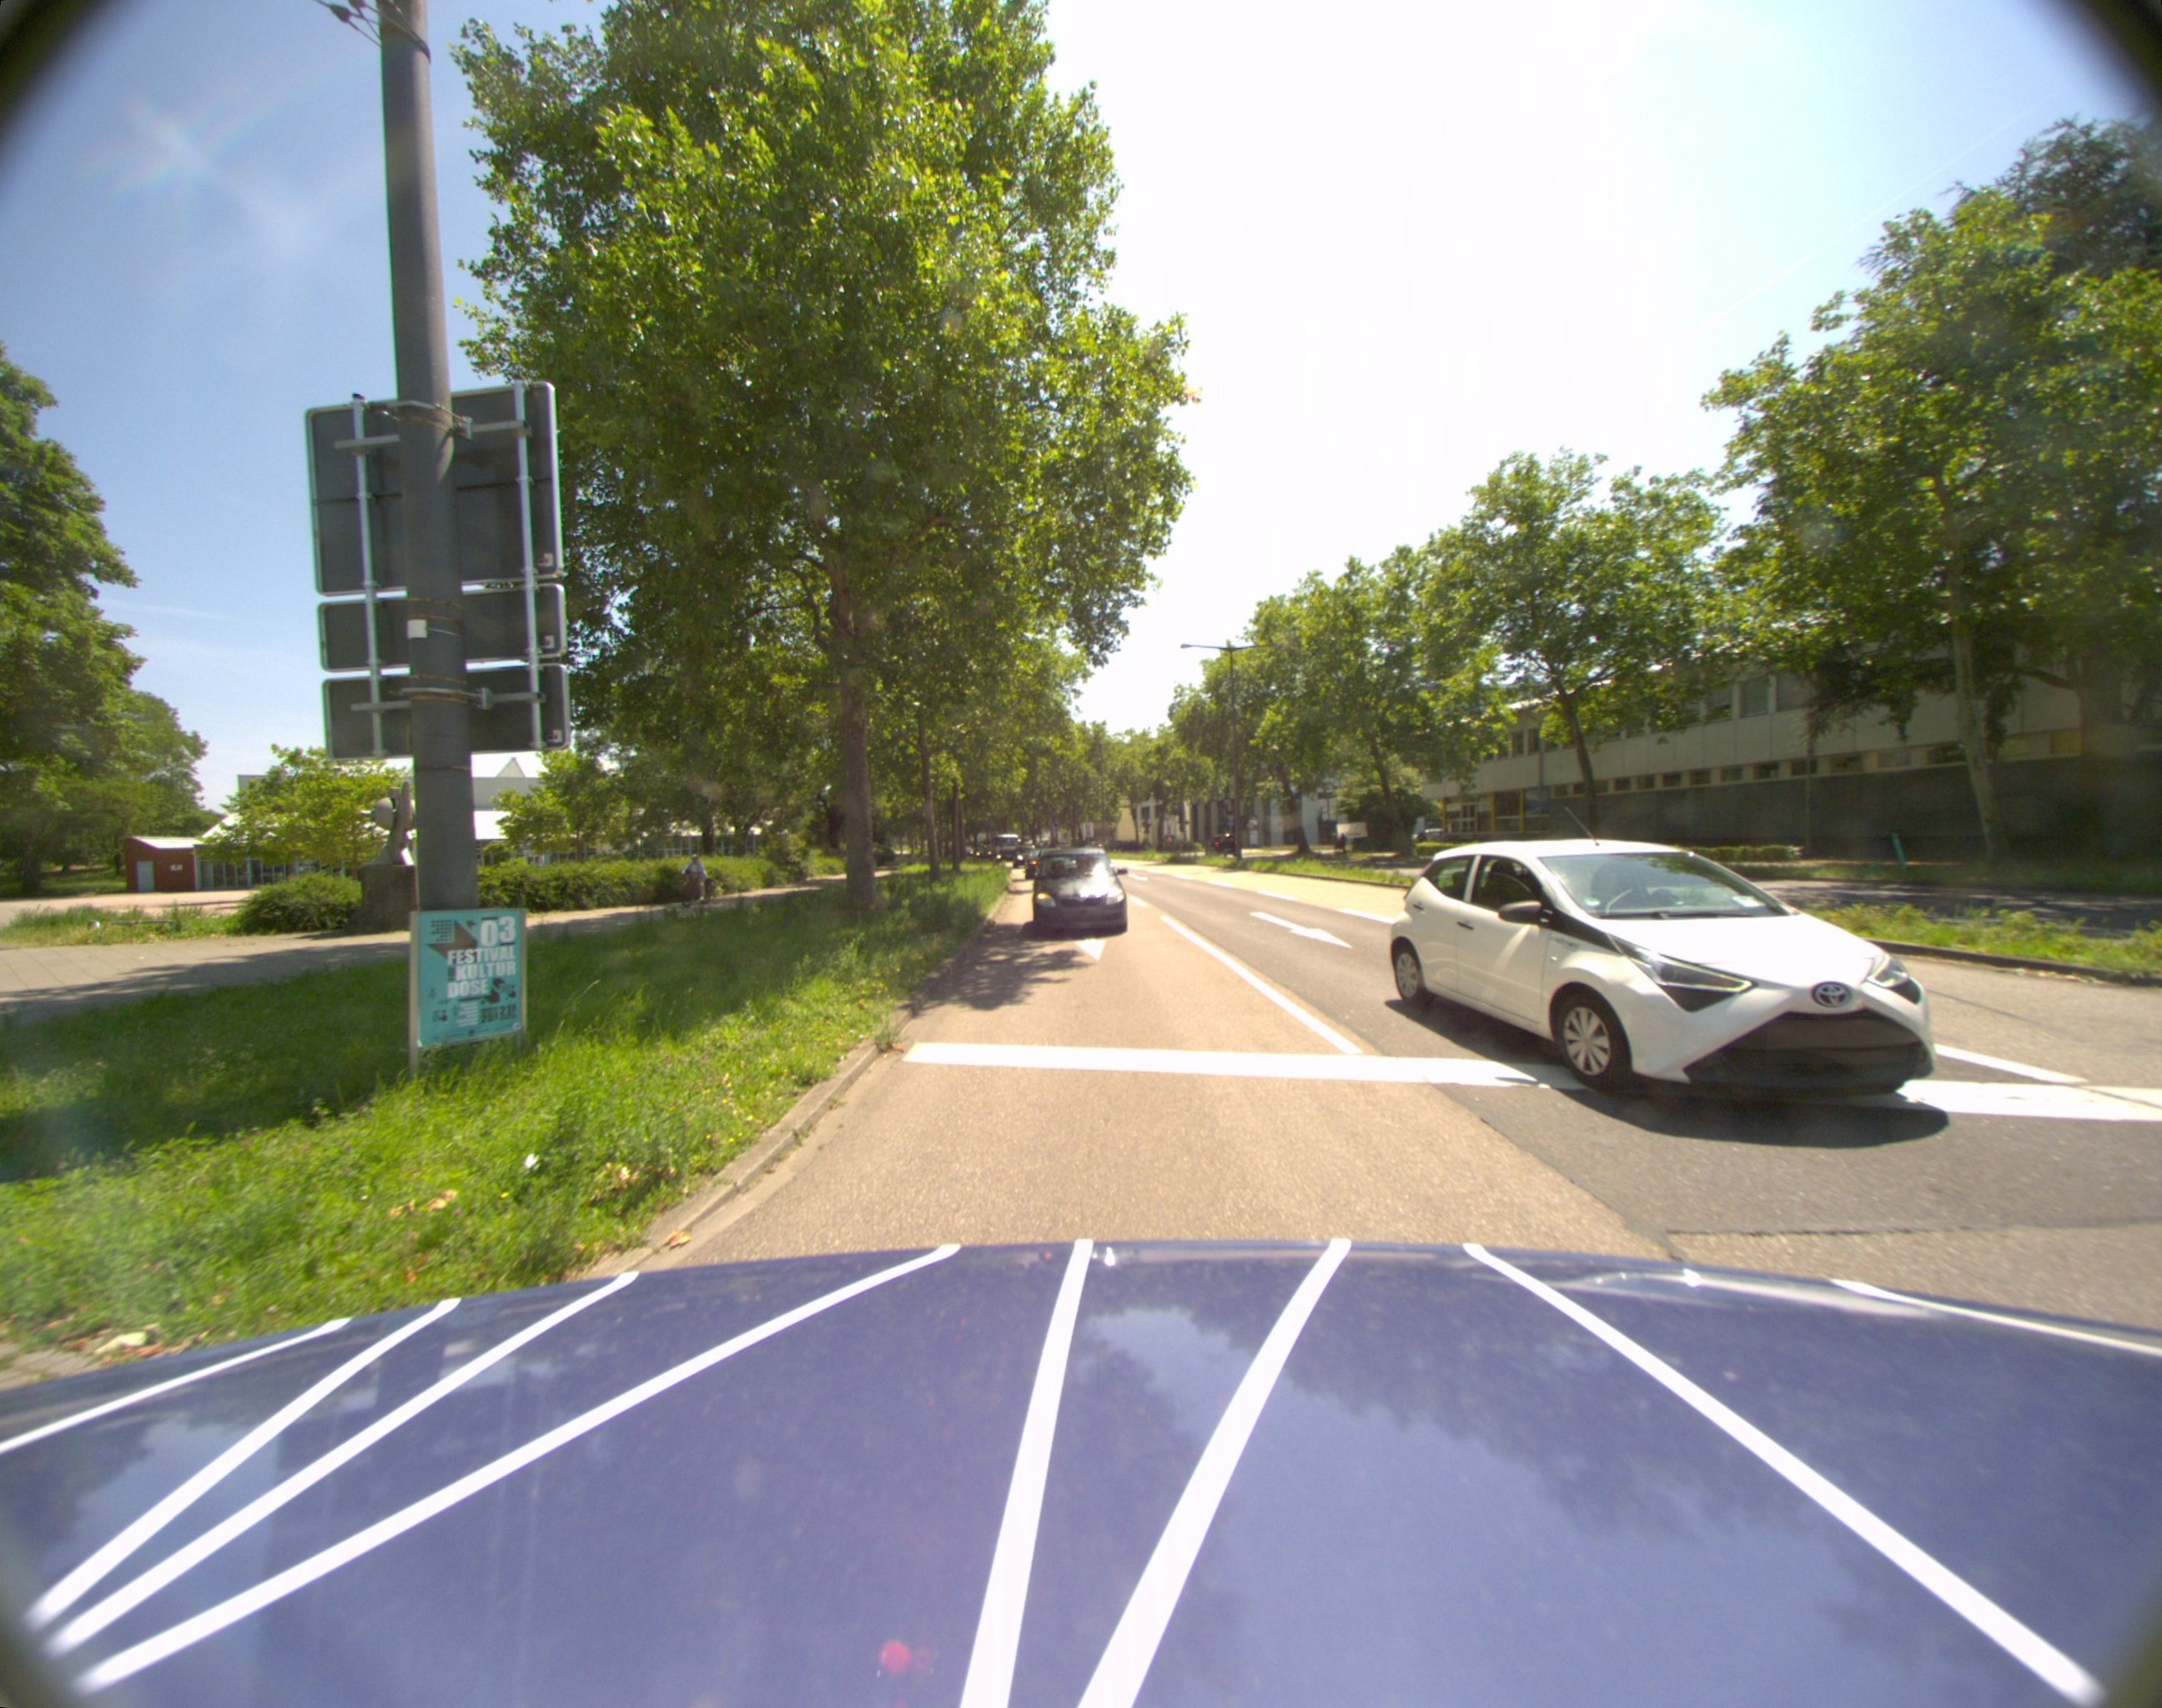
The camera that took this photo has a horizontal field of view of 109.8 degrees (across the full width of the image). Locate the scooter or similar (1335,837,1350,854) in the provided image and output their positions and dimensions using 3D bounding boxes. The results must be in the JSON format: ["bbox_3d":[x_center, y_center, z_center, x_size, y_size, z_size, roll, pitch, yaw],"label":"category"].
[{"bbox_3d":[18.879,-0.613,54.795,0.680,1.157,0.858,-2,1,-10],"label":"scooter or similar"}]

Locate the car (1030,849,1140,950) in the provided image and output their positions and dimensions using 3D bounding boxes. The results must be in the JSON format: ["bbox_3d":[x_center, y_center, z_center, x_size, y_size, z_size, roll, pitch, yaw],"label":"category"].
[{"bbox_3d":[-0.060,0.710,13.982,1.654,1.454,3.862,-4,1,-4],"label":"car"}]

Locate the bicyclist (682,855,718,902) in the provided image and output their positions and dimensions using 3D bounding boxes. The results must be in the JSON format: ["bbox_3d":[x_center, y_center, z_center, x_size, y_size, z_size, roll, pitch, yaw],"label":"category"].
[{"bbox_3d":[-11.151,0.719,22.254,0.600,1.331,0.666,-1,2,7],"label":"bicyclist"}]

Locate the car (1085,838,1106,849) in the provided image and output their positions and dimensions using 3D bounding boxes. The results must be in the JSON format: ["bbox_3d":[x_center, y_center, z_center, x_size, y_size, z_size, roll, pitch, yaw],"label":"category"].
[{"bbox_3d":[2.005,-1.425,104.736,1.860,1.410,4.541,-2,1,-13],"label":"car"}]

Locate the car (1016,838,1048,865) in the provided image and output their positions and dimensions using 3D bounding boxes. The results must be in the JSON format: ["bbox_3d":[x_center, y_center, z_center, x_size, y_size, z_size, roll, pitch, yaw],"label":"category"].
[{"bbox_3d":[-3.497,-0.181,53.847,2.000,1.783,3.997,-2,1,-6],"label":"car"}]

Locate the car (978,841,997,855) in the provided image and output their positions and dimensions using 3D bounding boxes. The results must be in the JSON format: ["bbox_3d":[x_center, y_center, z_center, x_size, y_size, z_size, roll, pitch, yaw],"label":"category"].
[{"bbox_3d":[-11.452,-0.701,93.052,2.000,1.609,3.995,-2,1,-11],"label":"car"}]

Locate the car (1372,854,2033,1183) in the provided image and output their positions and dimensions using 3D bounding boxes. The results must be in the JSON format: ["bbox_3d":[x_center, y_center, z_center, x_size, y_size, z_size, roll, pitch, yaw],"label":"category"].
[{"bbox_3d":[3.634,0.769,5.395,1.623,1.437,3.650,-2,1,-2],"label":"car"}]

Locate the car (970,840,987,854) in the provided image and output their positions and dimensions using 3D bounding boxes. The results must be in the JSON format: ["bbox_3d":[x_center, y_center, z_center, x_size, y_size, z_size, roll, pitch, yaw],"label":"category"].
[{"bbox_3d":[-14.319,-0.948,106.122,2.001,1.827,3.995,-2,1,-13],"label":"car"}]

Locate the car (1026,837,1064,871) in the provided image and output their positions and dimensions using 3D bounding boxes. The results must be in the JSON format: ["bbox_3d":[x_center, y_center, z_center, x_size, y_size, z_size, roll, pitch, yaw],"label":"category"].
[{"bbox_3d":[-2.225,-0.029,45.596,2.000,1.871,3.997,-2,1,-6],"label":"car"}]

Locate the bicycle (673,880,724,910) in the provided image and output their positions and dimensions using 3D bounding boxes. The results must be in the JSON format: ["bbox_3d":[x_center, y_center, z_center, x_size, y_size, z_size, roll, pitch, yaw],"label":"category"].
[{"bbox_3d":[-11.150,1.187,22.209,0.464,0.760,1.669,-1,1,7],"label":"bicycle"}]

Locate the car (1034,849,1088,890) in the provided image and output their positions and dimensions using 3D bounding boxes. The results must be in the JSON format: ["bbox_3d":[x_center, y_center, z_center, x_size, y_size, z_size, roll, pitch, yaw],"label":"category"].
[{"bbox_3d":[-0.797,0.516,28.354,1.792,1.325,3.740,-3,1,-4],"label":"car"}]

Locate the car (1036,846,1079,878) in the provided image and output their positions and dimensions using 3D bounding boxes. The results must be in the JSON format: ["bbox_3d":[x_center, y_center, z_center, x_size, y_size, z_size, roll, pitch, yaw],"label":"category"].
[{"bbox_3d":[-1.184,0.345,36.882,1.878,1.448,3.783,-1,1,-4],"label":"car"}]

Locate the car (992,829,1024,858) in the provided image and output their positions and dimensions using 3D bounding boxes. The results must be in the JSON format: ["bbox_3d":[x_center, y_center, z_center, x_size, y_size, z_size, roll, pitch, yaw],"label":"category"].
[{"bbox_3d":[-7.095,-1.004,73.983,2.919,2.639,6.362,-2,1,-6],"label":"car"}]

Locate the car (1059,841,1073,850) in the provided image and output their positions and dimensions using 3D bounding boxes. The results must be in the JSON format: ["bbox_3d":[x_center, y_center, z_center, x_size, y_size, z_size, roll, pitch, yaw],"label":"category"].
[{"bbox_3d":[-2.453,-1.344,122.786,1.738,1.451,3.669,-2,1,-11],"label":"car"}]

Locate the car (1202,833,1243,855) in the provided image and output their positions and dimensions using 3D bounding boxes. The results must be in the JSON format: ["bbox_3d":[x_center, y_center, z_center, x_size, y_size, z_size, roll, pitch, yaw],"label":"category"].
[{"bbox_3d":[11.329,-0.800,61.062,1.917,1.670,4.440,-2,1,-7],"label":"car"}]

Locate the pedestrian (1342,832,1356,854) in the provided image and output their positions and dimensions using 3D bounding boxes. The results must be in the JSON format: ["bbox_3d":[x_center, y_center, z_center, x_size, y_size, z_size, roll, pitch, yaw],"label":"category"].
[{"bbox_3d":[19.025,-0.786,53.964,0.644,1.551,0.790,-2,2,-10],"label":"pedestrian"}]

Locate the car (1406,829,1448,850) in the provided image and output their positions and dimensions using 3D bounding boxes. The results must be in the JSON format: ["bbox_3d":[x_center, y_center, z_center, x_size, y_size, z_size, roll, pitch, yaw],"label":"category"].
[{"bbox_3d":[29.115,-1.231,63.972,1.820,1.638,3.526,-3,2,-1],"label":"car"}]
